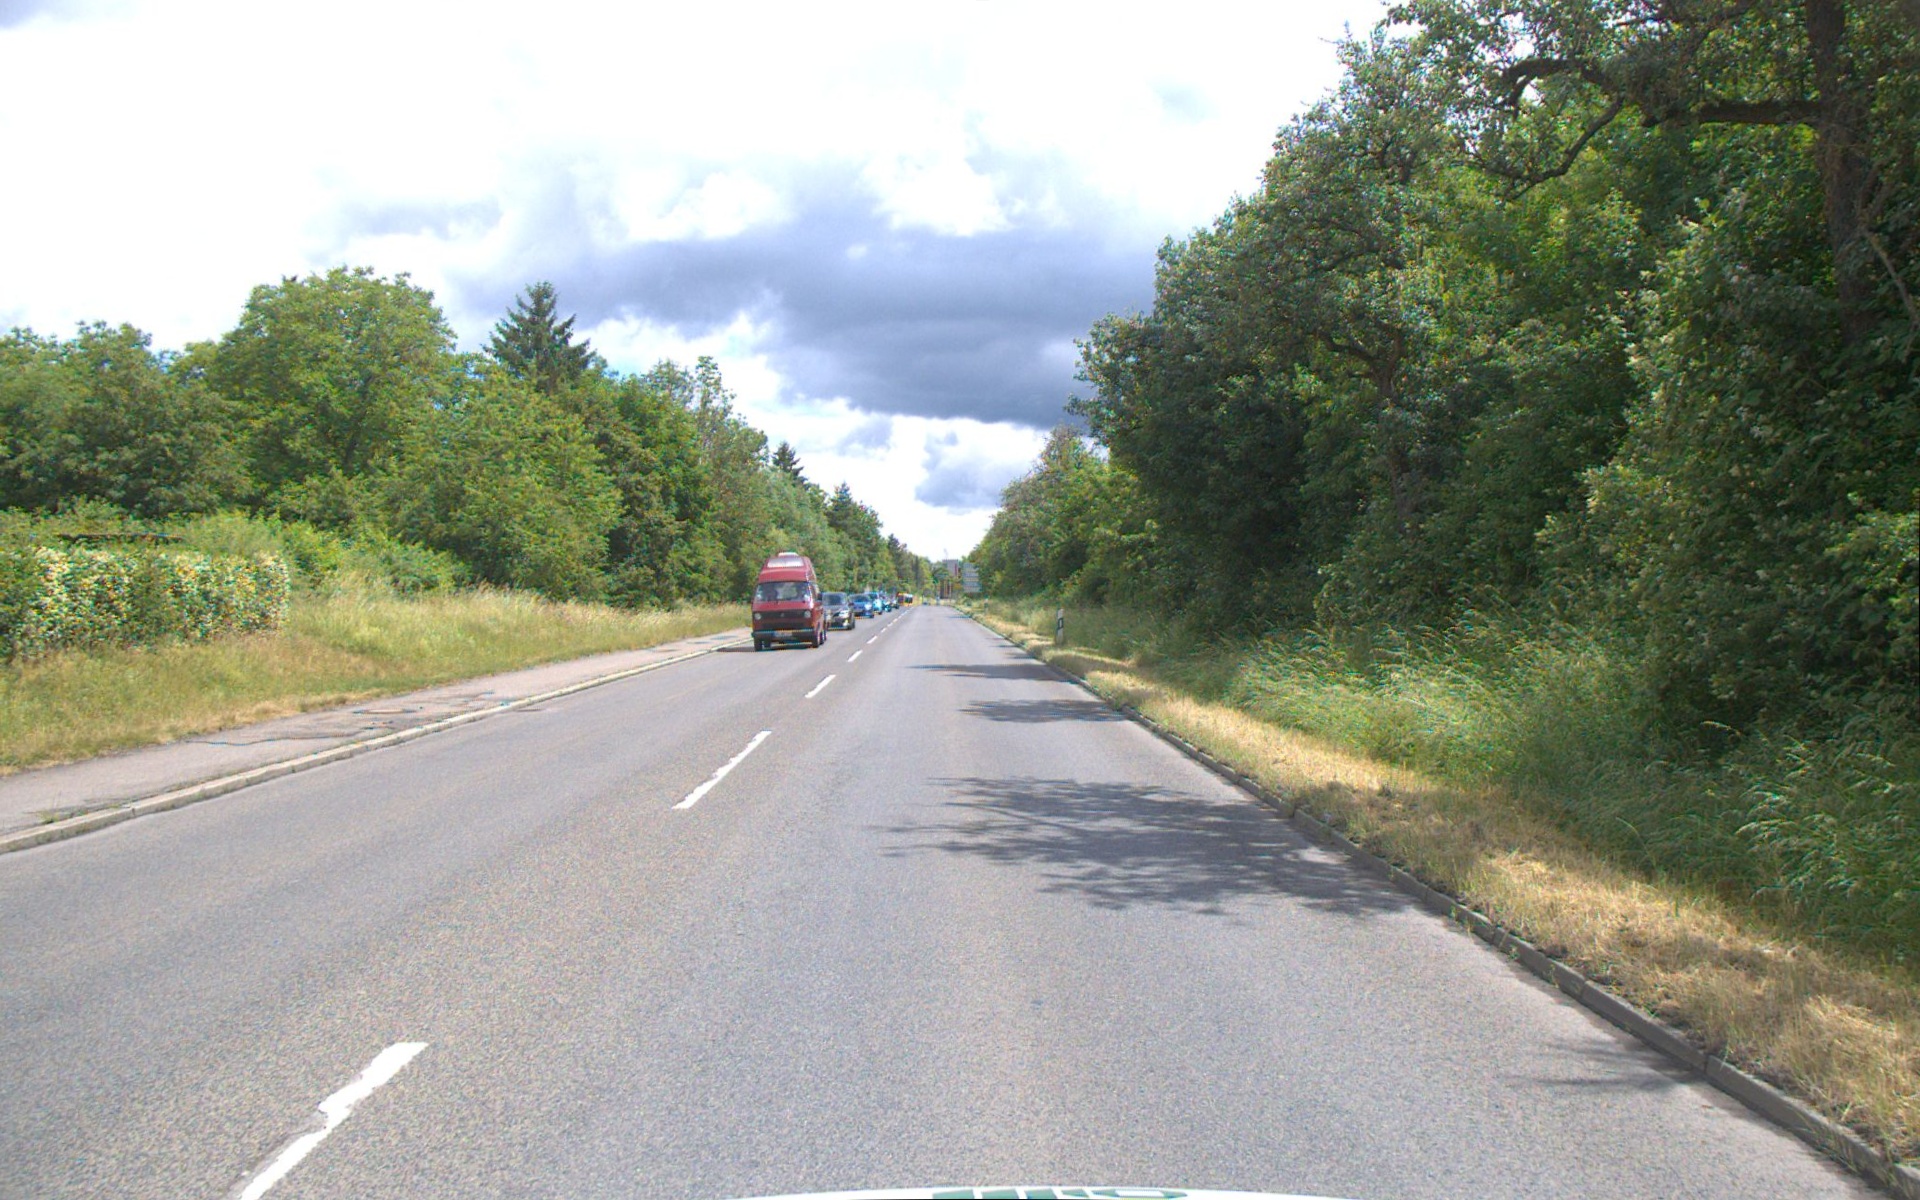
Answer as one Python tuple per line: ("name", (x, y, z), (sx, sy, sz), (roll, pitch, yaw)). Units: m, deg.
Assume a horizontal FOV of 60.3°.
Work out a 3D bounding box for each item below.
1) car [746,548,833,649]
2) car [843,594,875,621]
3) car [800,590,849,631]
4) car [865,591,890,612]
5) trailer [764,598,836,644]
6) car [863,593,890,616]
("car", (-4.702, -0.056, 46.230), (1.929, 2.594, 4.723), (-3, 0, -1))
("car", (-5.985, 0.446, 98.740), (1.748, 1.472, 4.450), (-3, 0, -2))
("car", (-5.396, 0.393, 66.387), (1.682, 1.496, 3.999), (-3, 0, -2))
("car", (-6.509, 0.093, 130.575), (1.846, 1.518, 4.715), (-3, 0, -2))
("trailer", (-4.867, 0.617, 50.636), (1.853, 1.221, 3.916), (-3, 0, -1))
("car", (-5.786, 0.320, 114.497), (1.748, 1.472, 2.965), (-3, 0, -2))
